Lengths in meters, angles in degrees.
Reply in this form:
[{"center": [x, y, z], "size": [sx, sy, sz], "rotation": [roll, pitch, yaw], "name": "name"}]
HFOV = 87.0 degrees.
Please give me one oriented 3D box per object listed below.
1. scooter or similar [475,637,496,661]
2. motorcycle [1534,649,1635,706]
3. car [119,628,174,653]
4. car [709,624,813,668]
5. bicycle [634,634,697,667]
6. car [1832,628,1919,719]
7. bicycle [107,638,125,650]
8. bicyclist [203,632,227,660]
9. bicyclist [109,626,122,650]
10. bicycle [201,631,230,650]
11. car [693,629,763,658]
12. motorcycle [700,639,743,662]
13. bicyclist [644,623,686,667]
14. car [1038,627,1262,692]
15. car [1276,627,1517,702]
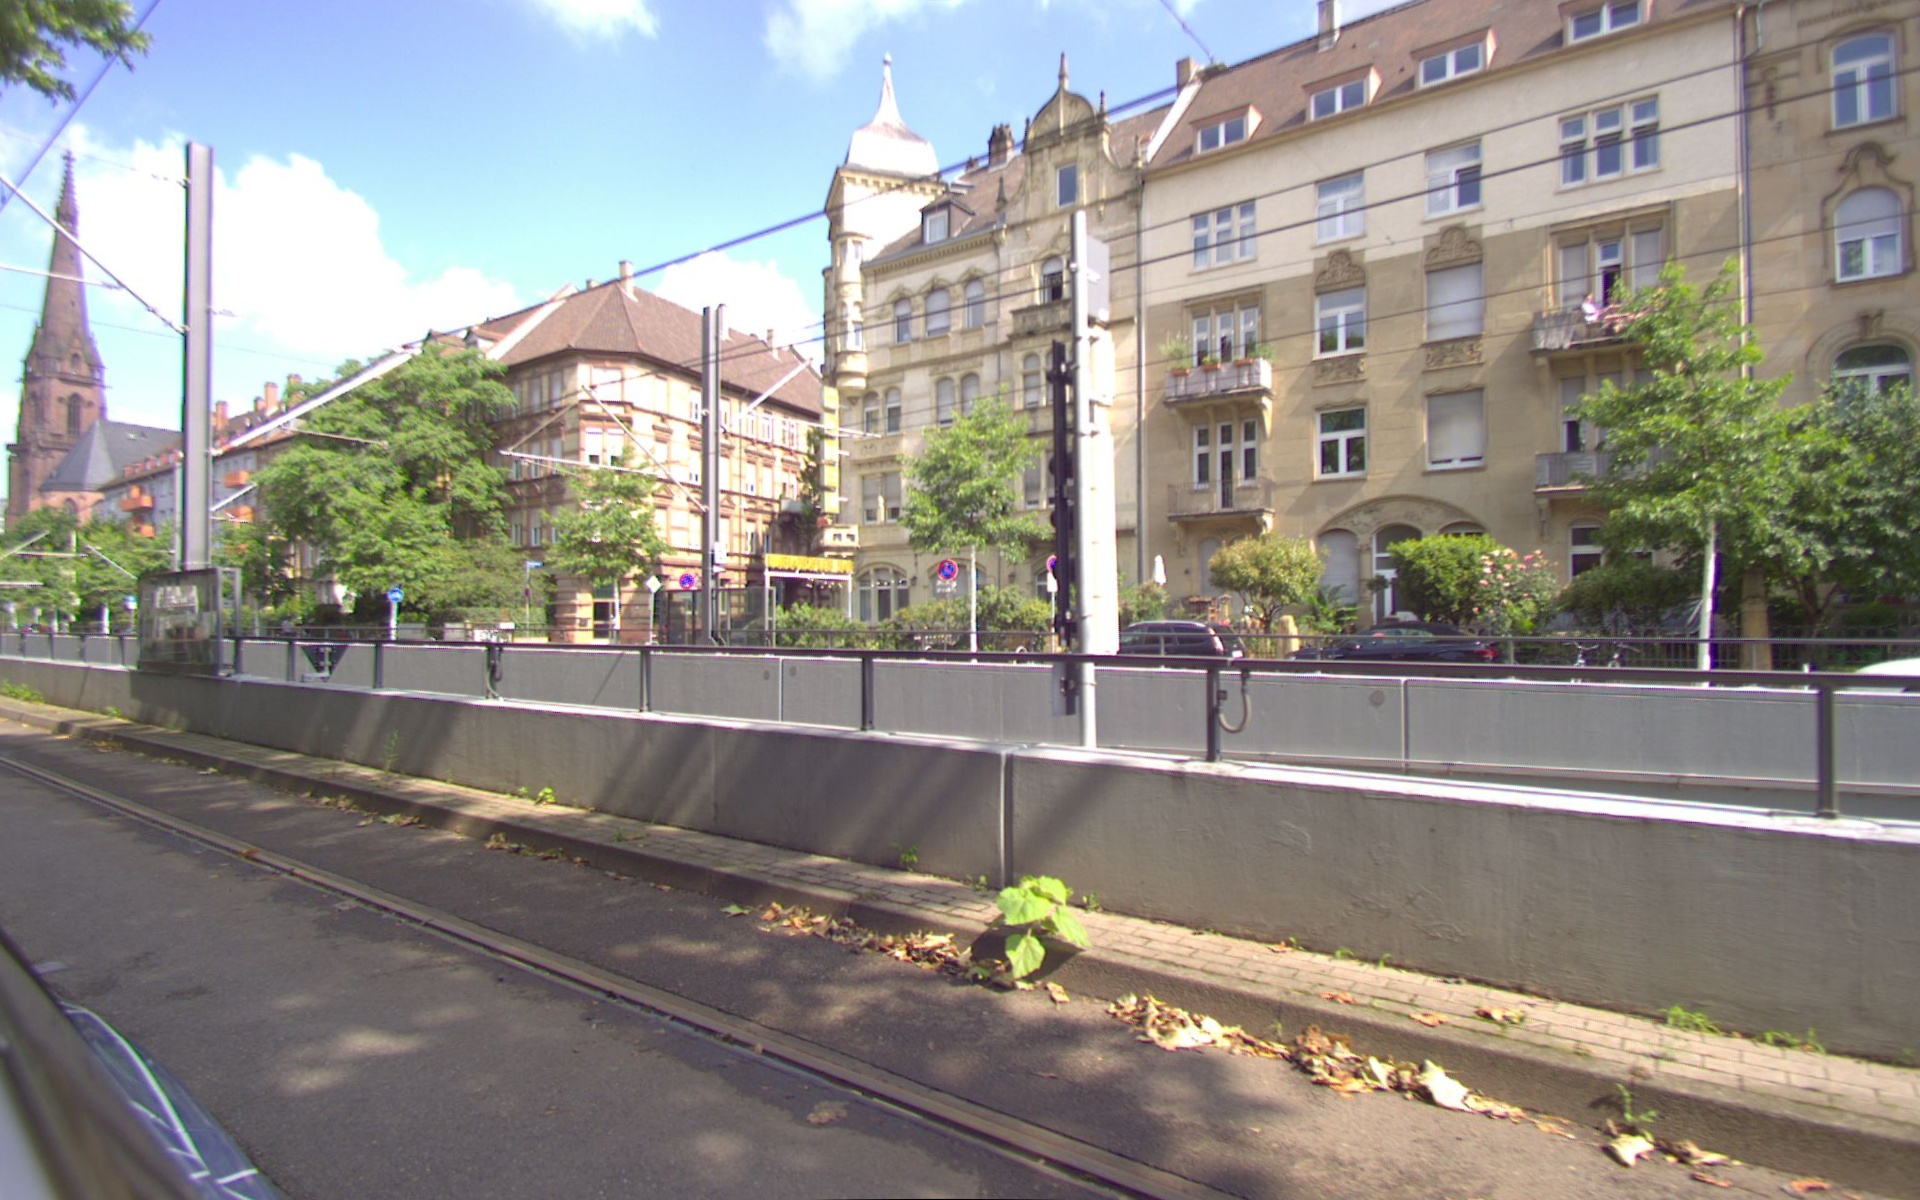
[{"center": [-22.880, 2.362, 48.798], "size": [1.286, 1.090, 0.373], "rotation": [-2, 0, 37], "name": "scooter or similar"}, {"center": [11.235, 1.374, 18.190], "size": [1.415, 0.949, 1.744], "rotation": [-1, -4, 36], "name": "motorcycle"}, {"center": [-55.587, 2.754, 69.119], "size": [4.107, 1.650, 1.975], "rotation": [-2, -3, 37], "name": "car"}, {"center": [-7.771, 1.760, 39.870], "size": [2.027, 1.618, 3.924], "rotation": [-1, -2, 28], "name": "car"}, {"center": [-9.255, 1.576, 31.731], "size": [2.137, 0.986, 0.768], "rotation": [-2, -4, 38], "name": "bicycle"}, {"center": [15.680, 1.076, 14.757], "size": [4.303, 1.338, 1.736], "rotation": [-1, -3, 35], "name": "car"}, {"center": [-55.038, 2.873, 65.990], "size": [1.813, 0.774, 0.491], "rotation": [-1, -3, 37], "name": "bicycle"}, {"center": [-40.522, 2.485, 55.049], "size": [0.976, 1.490, 0.732], "rotation": [-2, -4, 37], "name": "bicyclist"}, {"center": [-55.062, 2.482, 65.996], "size": [0.606, 1.556, 0.499], "rotation": [-1, -3, 37], "name": "bicyclist"}, {"center": [-40.571, 2.223, 55.115], "size": [1.895, 1.003, 0.719], "rotation": [-2, -4, 37], "name": "bicycle"}, {"center": [-13.331, 2.494, 58.332], "size": [1.914, 1.547, 3.968], "rotation": [0, -2, 24], "name": "car"}, {"center": [-10.573, 2.227, 44.892], "size": [1.989, 1.002, 0.519], "rotation": [-1, -2, 26], "name": "motorcycle"}, {"center": [-9.247, 1.407, 31.721], "size": [1.047, 1.348, 0.760], "rotation": [-2, -4, 38], "name": "bicyclist"}, {"center": [4.278, 1.315, 23.248], "size": [4.719, 1.337, 1.930], "rotation": [-2, -2, 38], "name": "car"}, {"center": [8.653, 1.228, 20.151], "size": [4.091, 1.337, 2.002], "rotation": [-2, -2, 35], "name": "car"}]
